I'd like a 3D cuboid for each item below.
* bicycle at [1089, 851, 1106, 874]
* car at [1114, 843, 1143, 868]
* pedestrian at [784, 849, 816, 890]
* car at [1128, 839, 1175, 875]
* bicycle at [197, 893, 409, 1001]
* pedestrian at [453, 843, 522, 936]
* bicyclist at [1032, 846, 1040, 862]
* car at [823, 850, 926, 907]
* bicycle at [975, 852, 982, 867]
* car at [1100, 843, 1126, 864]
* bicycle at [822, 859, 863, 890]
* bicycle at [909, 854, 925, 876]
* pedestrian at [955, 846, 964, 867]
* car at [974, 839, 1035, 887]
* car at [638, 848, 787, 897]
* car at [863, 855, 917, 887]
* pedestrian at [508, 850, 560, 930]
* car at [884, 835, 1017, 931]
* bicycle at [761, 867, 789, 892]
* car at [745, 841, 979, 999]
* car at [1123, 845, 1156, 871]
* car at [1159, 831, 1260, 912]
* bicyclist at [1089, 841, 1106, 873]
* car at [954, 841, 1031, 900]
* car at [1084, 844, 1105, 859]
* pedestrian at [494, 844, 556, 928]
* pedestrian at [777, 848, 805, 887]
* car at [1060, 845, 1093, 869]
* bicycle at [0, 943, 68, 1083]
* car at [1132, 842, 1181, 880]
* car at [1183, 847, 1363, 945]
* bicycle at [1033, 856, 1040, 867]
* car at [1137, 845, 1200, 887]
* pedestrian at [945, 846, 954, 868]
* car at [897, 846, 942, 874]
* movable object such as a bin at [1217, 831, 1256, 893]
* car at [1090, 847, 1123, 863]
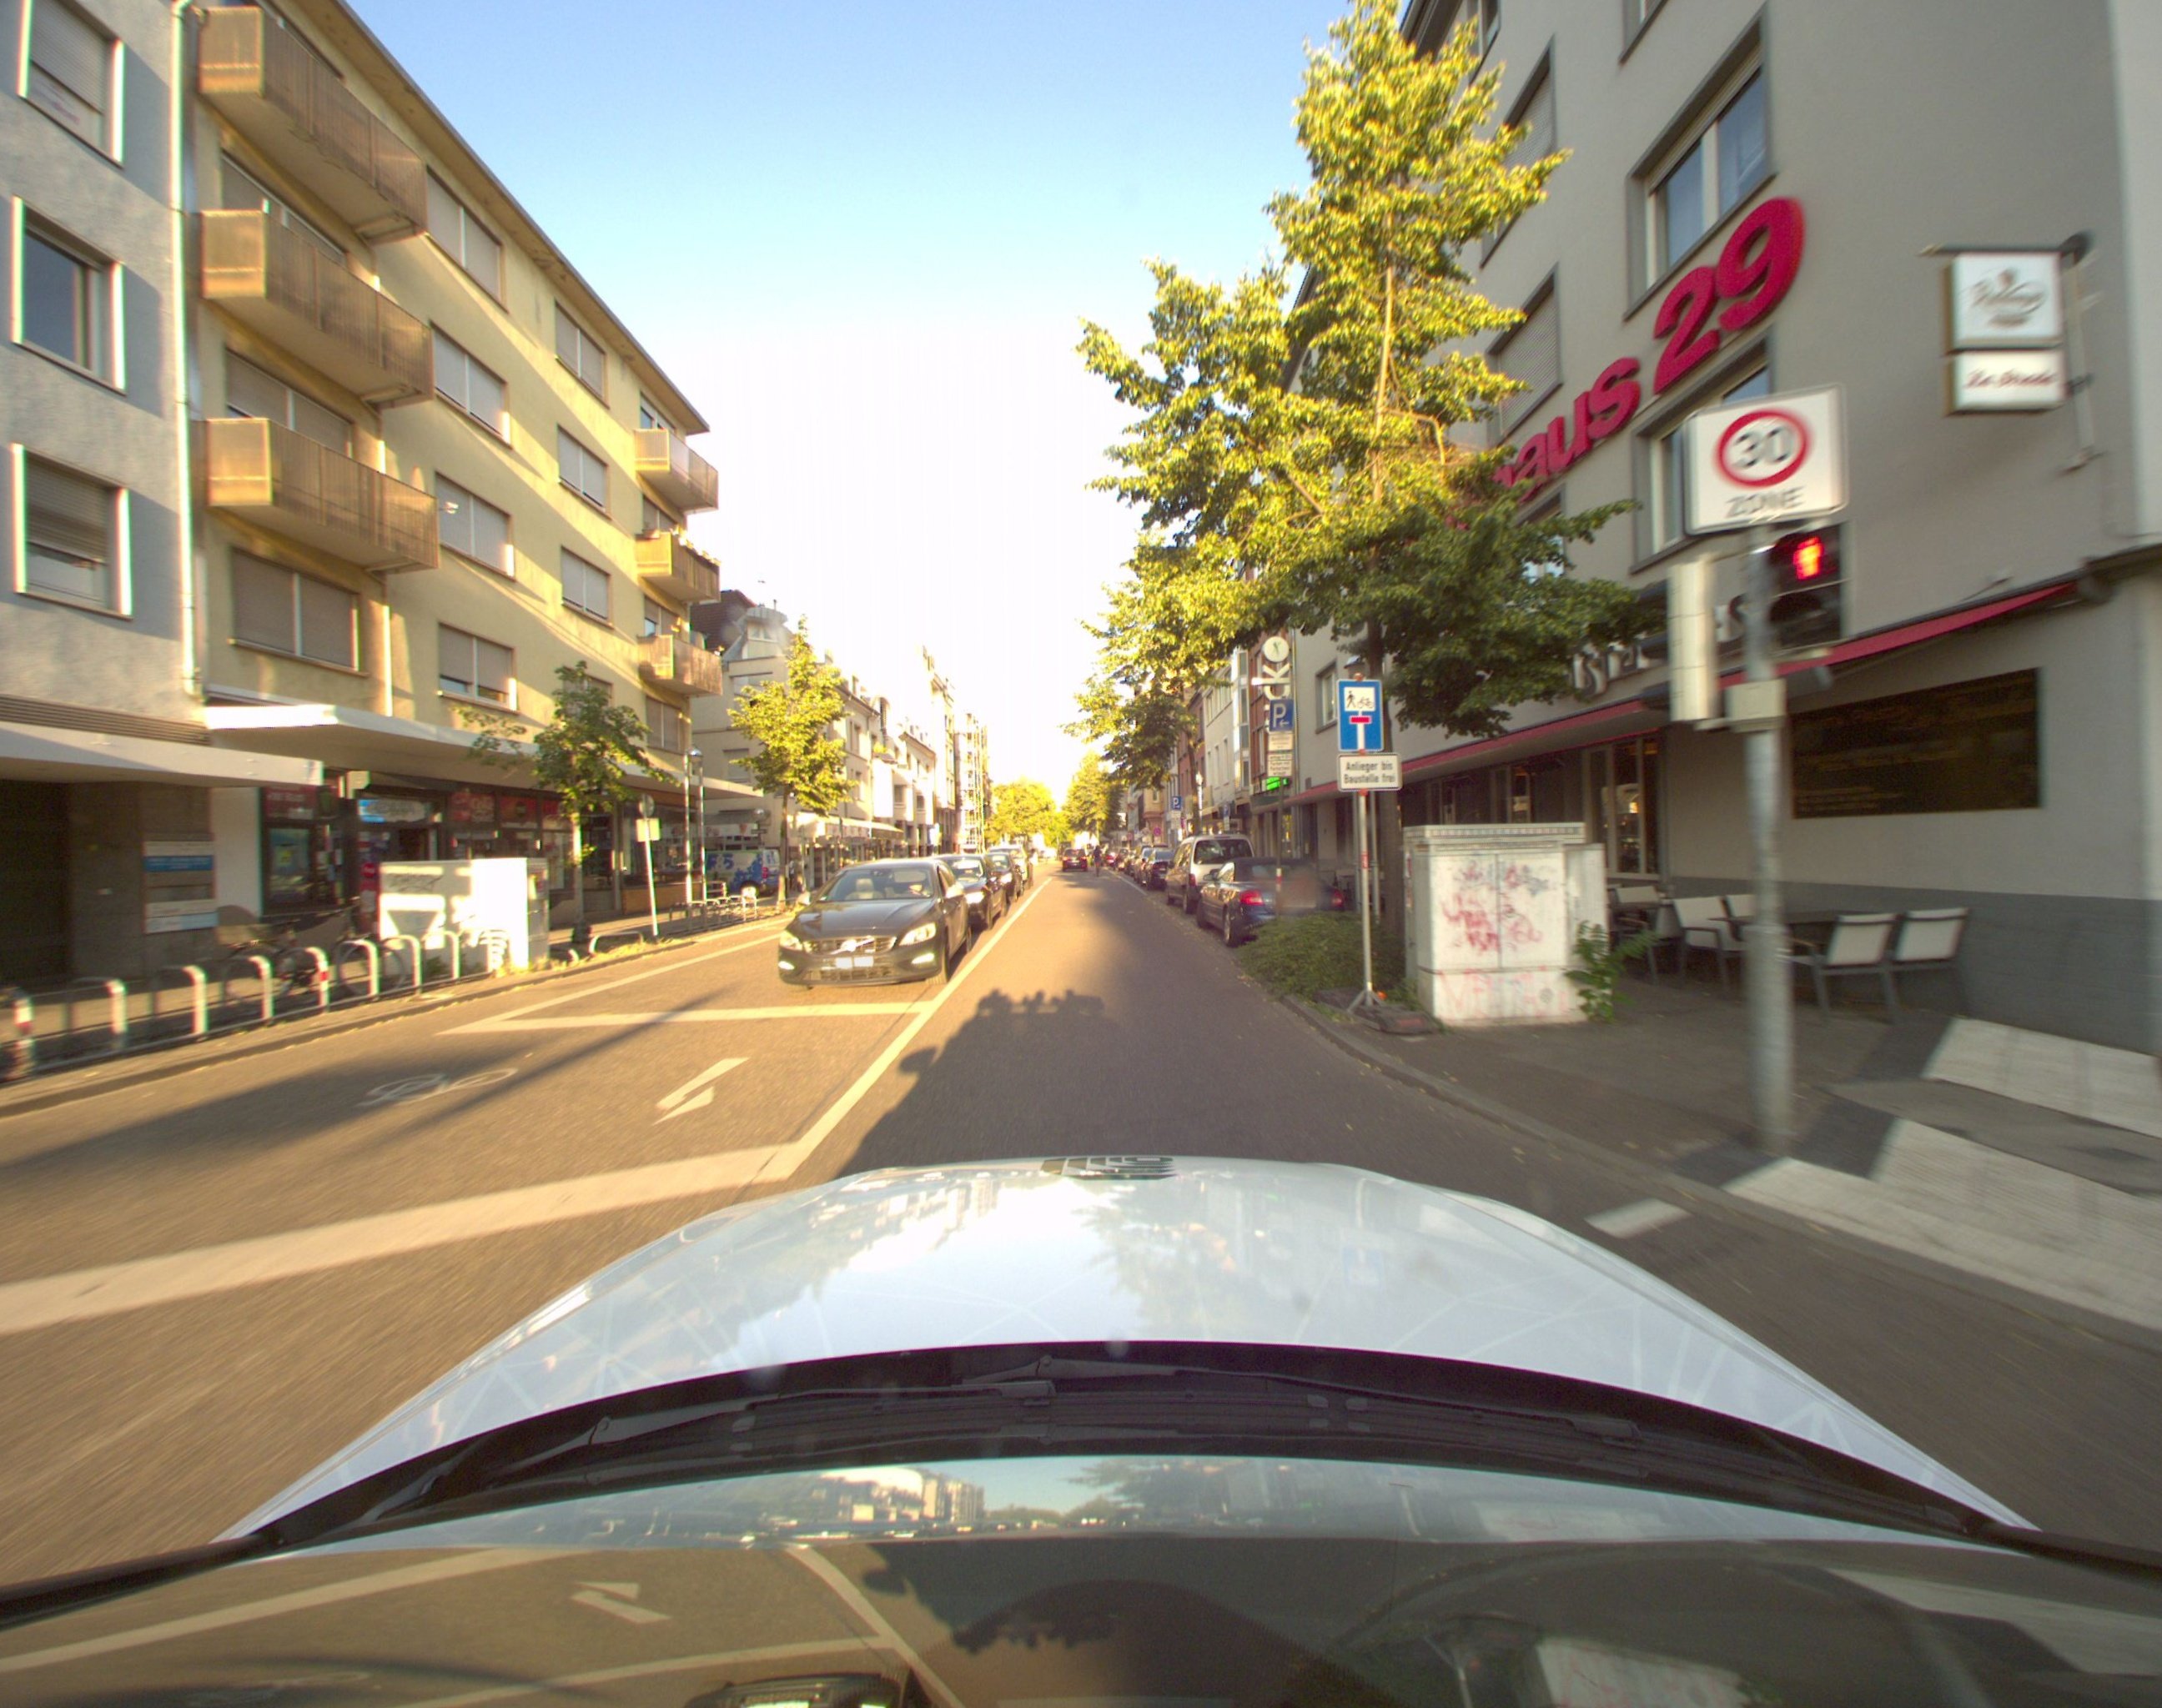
[{"bbox_3d":[0.876,0.450,44.426,0.779,1.204,2.019,-2,0,-2],"label":"bicycle"},{"bbox_3d":[3.301,0.124,56.962,1.806,1.668,4.205,0,0,0],"label":"car"},{"bbox_3d":[-11.959,0.638,34.632,0.899,1.676,0.995,-1,1,6],"label":"pedestrian"},{"bbox_3d":[3.535,0.160,41.833,1.878,1.754,5.056,0,0,-1],"label":"car"},{"bbox_3d":[-9.146,1.080,9.606,2.003,1.218,0.491,0,0,-1],"label":"bicycle"},{"bbox_3d":[-12.086,0.705,16.616,0.763,1.847,0.745,-1,1,9],"label":"pedestrian"},{"bbox_3d":[-5.277,-0.019,95.800,0.779,1.829,1.006,-2,0,-3],"label":"bicyclist"},{"bbox_3d":[-6.357,0.704,25.604,1.987,1.511,4.508,-4,0,0],"label":"car"},{"bbox_3d":[-9.377,0.508,74.400,0.584,1.395,3.151,0,0,-9],"label":"bicycle"},{"bbox_3d":[2.707,-0.025,70.159,1.821,1.695,4.363,0,0,-3],"label":"car"},{"bbox_3d":[-10.392,0.858,35.662,0.956,1.300,3.124,0,0,-2],"label":"bicycle"},{"bbox_3d":[-10.585,0.712,52.610,0.608,1.375,2.358,0,0,-1],"label":"bicycle"},{"bbox_3d":[-9.766,0.208,65.533,0.716,1.740,0.736,0,0,-8],"label":"pedestrian"},{"bbox_3d":[-2.836,0.328,31.096,1.935,1.645,4.736,-2,0,-2],"label":"car"},{"bbox_3d":[-14.199,0.687,31.616,4.851,1.828,1.999,0,0,-1],"label":"car"},{"bbox_3d":[-8.895,0.747,38.182,1.656,1.402,3.882,0,0,-1],"label":"car"},{"bbox_3d":[-11.851,0.763,17.649,0.760,1.676,0.747,-1,0,42],"label":"pedestrian"},{"bbox_3d":[-2.529,0.534,16.955,1.940,1.645,4.615,-2,0,0],"label":"car"},{"bbox_3d":[-12.675,1.028,33.773,0.488,0.992,2.014,0,0,-2],"label":"bicycle"},{"bbox_3d":[-2.532,0.641,10.668,1.953,1.547,4.506,-2,1,-2],"label":"car"},{"bbox_3d":[3.463,0.216,48.859,1.756,1.483,4.306,0,0,0],"label":"car"},{"bbox_3d":[3.040,0.355,20.025,1.651,1.778,4.007,0,1,-3],"label":"car"},{"bbox_3d":[0.883,0.152,44.394,0.779,1.696,1.006,-2,0,-3],"label":"bicyclist"},{"bbox_3d":[-2.557,0.462,24.477,1.718,1.549,4.465,-2,0,0],"label":"car"},{"bbox_3d":[1.670,-0.302,103.443,2.260,1.766,4.504,4,-1,-3],"label":"car"},{"bbox_3d":[-12.486,0.698,18.311,0.738,1.818,0.814,-2,1,2],"label":"pedestrian"},{"bbox_3d":[-12.677,0.588,35.620,0.897,1.676,0.782,0,0,13],"label":"pedestrian"},{"bbox_3d":[-0.266,0.184,56.811,1.985,1.601,4.514,0,0,4],"label":"car"},{"bbox_3d":[-8.977,1.198,6.094,2.005,0.992,0.490,0,0,-5],"label":"bicycle"},{"bbox_3d":[3.204,0.288,35.481,1.805,1.527,4.995,0,0,2],"label":"car"},{"bbox_3d":[2.987,0.578,13.617,1.932,1.376,4.179,0,0,-2],"label":"car"},{"bbox_3d":[-5.253,0.896,95.872,0.779,1.204,2.019,-2,0,-2],"label":"bicycle"},{"bbox_3d":[3.074,0.378,29.573,1.747,1.420,4.508,0,1,-1],"label":"car"},{"bbox_3d":[-10.573,0.223,65.457,0.716,1.767,0.692,0,0,-8],"label":"pedestrian"},{"bbox_3d":[-8.898,0.324,45.138,1.705,1.453,3.724,0,0,0],"label":"car"},{"bbox_3d":[4.552,0.232,23.932,0.833,1.774,1.204,0,0,-4],"label":"movable object such as a bin"},{"bbox_3d":[2.357,0.094,76.168,2.963,1.536,1.431,0,0,-5],"label":"car"}]
